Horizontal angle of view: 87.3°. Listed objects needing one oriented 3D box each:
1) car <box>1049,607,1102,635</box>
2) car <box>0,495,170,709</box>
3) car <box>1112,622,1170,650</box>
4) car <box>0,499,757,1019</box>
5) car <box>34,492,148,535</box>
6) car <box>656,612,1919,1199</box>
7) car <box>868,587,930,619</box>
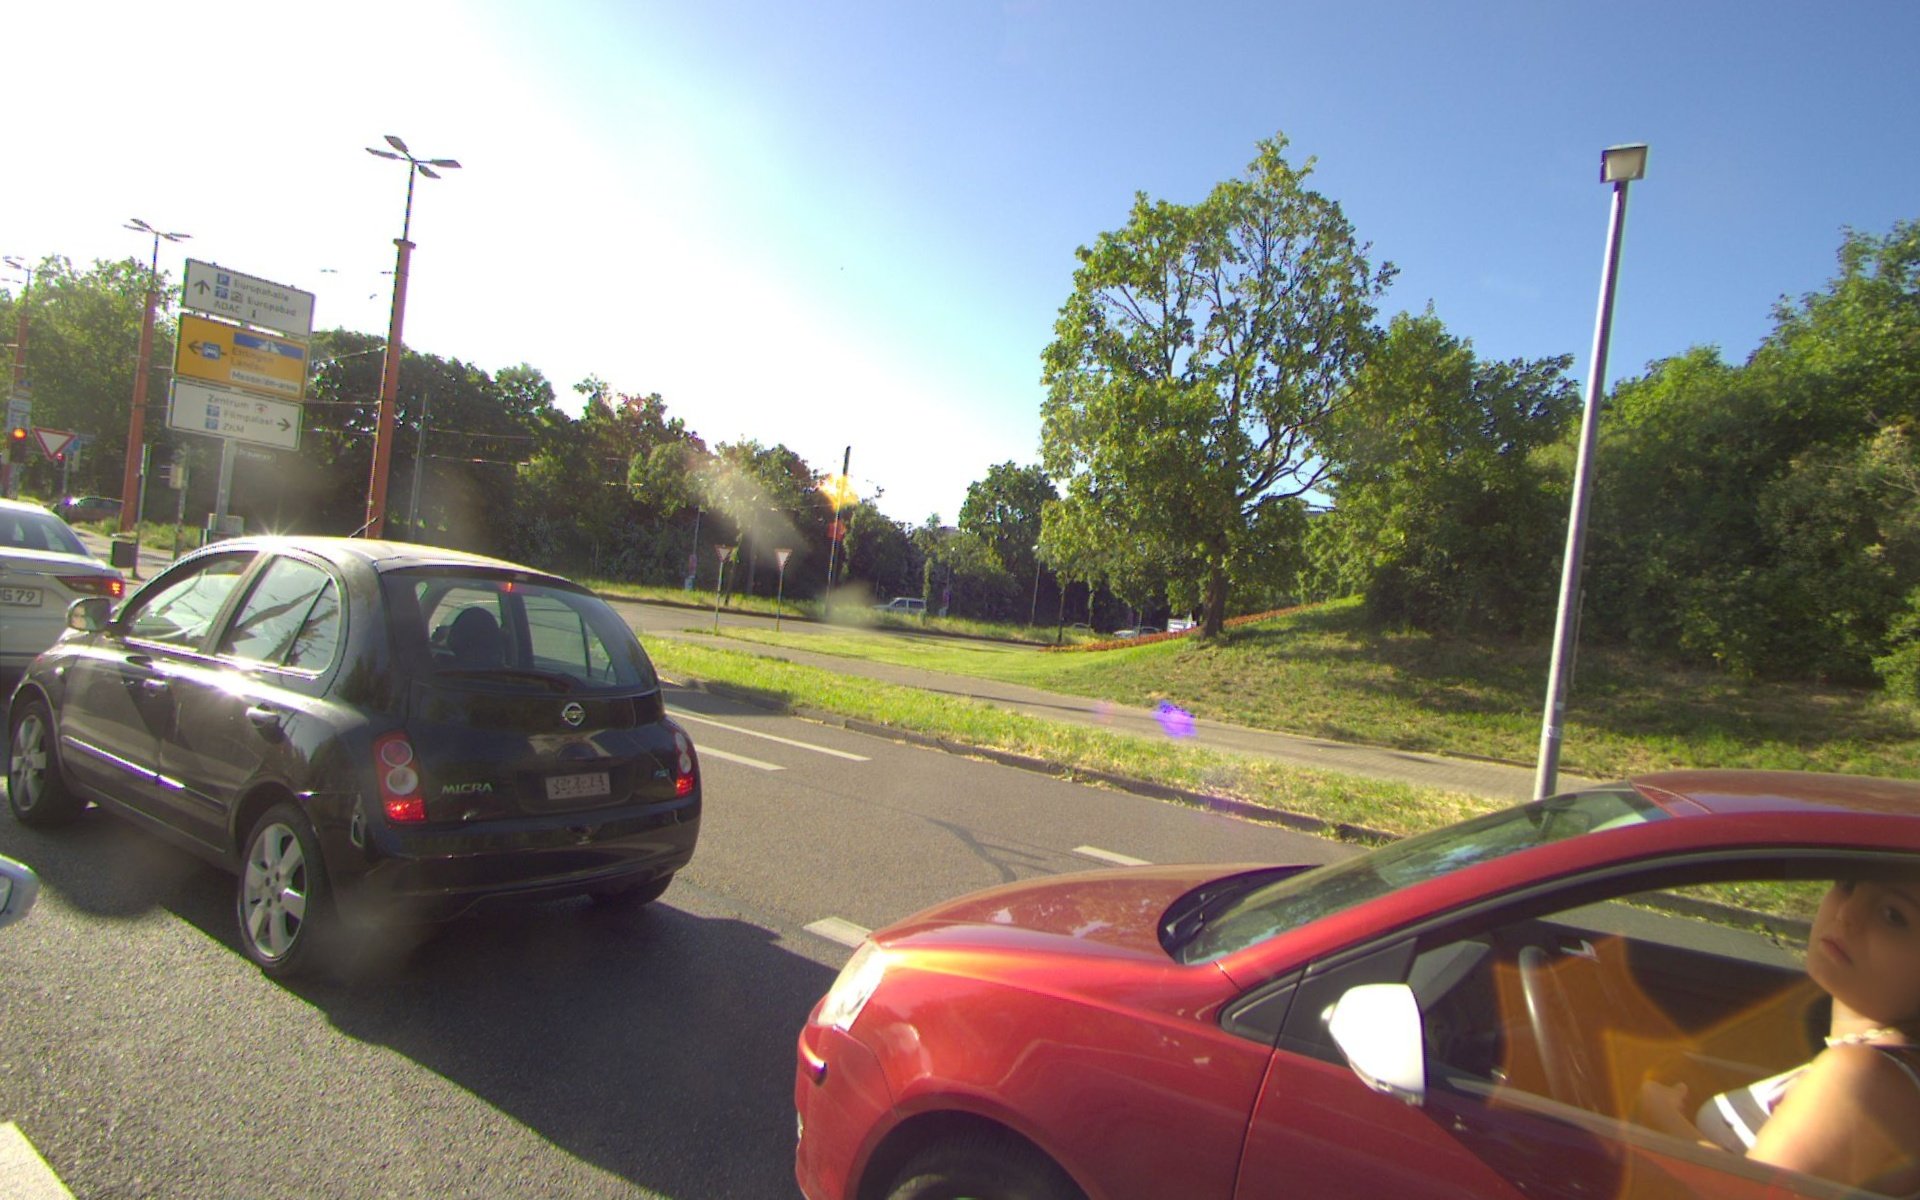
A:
[{"bbox_3d":[9.544,1.725,83.025,4.176,1.701,1.643,8,-1,-32],"label":"car"},{"bbox_3d":[-8.374,-0.175,8.078,4.256,1.457,1.802,6,-2,33],"label":"car"},{"bbox_3d":[14.810,2.944,82.336,4.629,1.644,1.643,8,-1,-32],"label":"car"},{"bbox_3d":[-2.801,0.467,4.623,3.385,1.457,1.579,6,-2,32],"label":"car"},{"bbox_3d":[-44.122,-4.369,51.198,4.093,1.419,1.642,8,-1,-33],"label":"car"},{"bbox_3d":[1.341,1.003,1.867,3.629,1.477,1.579,6,-2,32],"label":"car"},{"bbox_3d":[-4.509,0.247,74.473,4.090,1.771,1.643,8,-1,-31],"label":"car"}]
